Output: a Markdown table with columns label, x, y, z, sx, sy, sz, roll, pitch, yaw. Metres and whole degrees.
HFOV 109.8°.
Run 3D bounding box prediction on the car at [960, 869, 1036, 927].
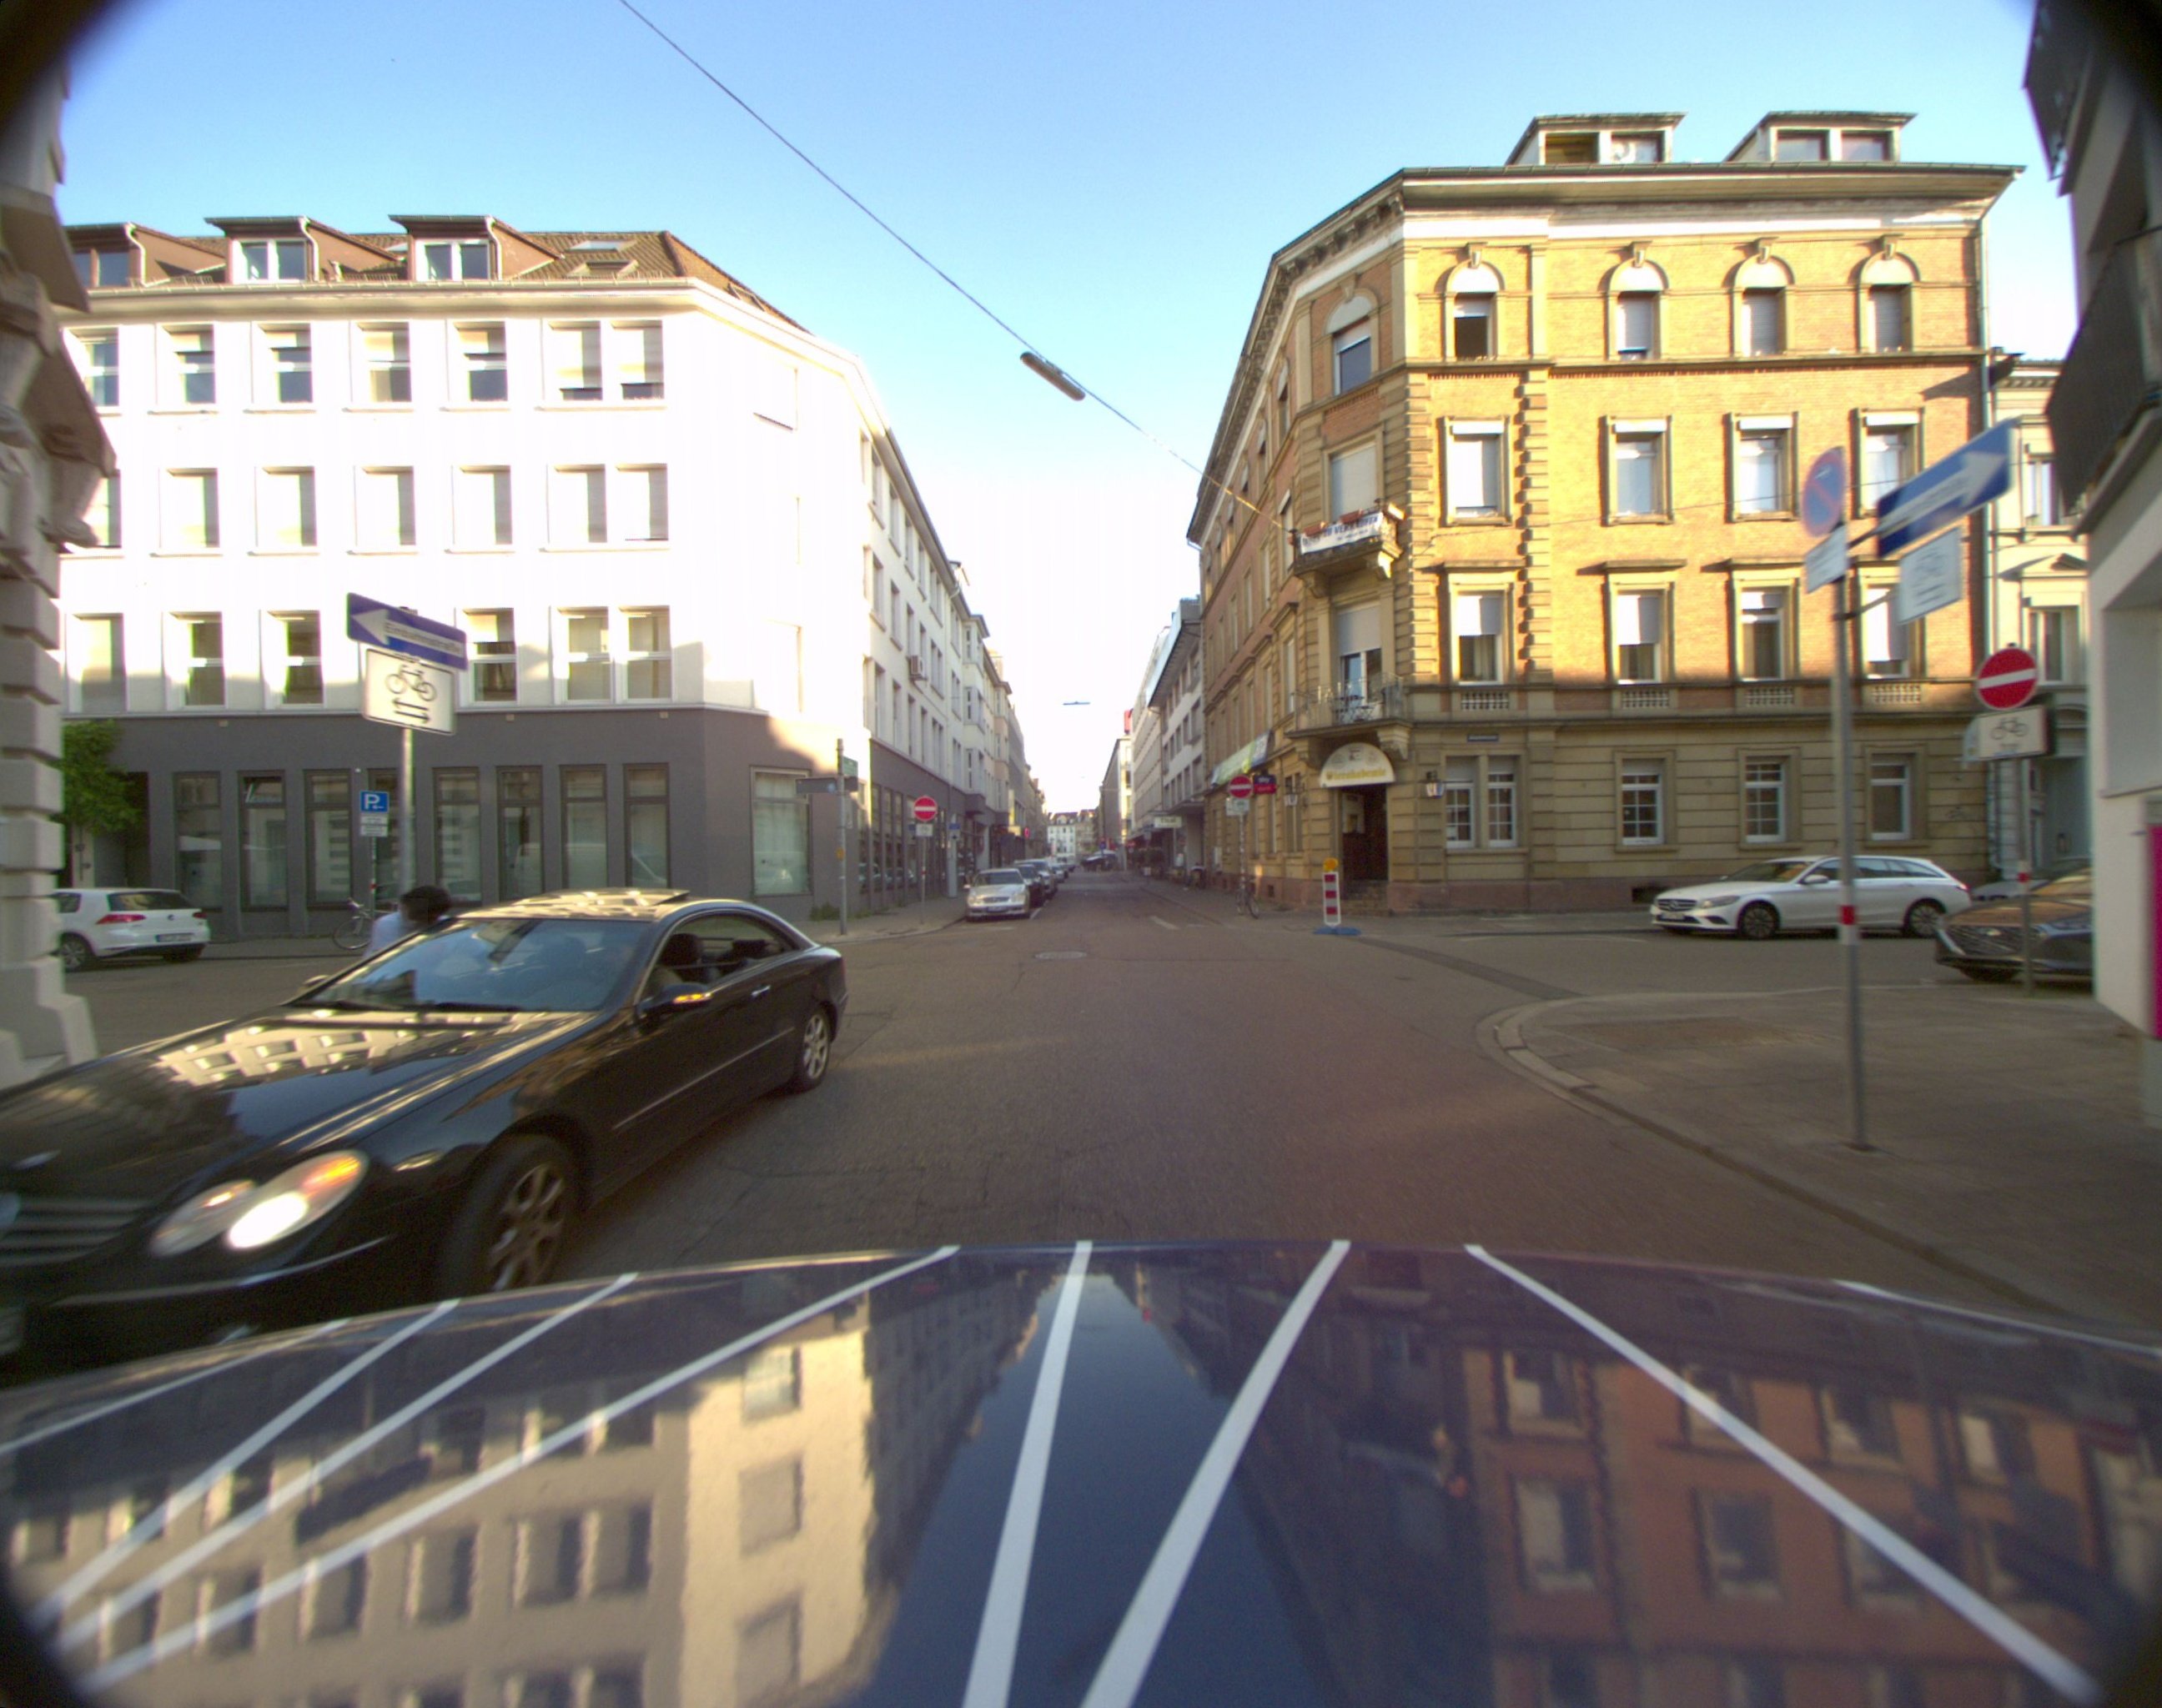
| label | x | y | z | sx | sy | sz | roll | pitch | yaw |
| --- | --- | --- | --- | --- | --- | --- | --- | --- | --- |
| car | -2.255 | 1.164 | 21.719 | 1.755 | 1.393 | 4.488 | -2 | -1 | -2 |

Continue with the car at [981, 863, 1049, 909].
| label | x | y | z | sx | sy | sz | roll | pitch | yaw |
| --- | --- | --- | --- | --- | --- | --- | --- | --- | --- |
| car | -2.271 | 1.094 | 27.287 | 2.013 | 1.515 | 4.118 | -1 | -1 | 0 |

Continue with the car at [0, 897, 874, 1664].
| label | x | y | z | sx | sy | sz | roll | pitch | yaw |
| --- | --- | --- | --- | --- | --- | --- | --- | --- | --- |
| car | -2.800 | 1.051 | 4.010 | 1.888 | 1.400 | 4.731 | -1 | -1 | 3 |

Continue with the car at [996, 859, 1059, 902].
| label | x | y | z | sx | sy | sz | roll | pitch | yaw |
| --- | --- | --- | --- | --- | --- | --- | --- | --- | --- |
| car | -2.228 | 1.102 | 33.033 | 2.335 | 1.734 | 4.488 | -1 | -1 | 0 |

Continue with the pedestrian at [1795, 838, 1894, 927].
| label | x | y | z | sx | sy | sz | roll | pitch | yaw |
| --- | --- | --- | --- | --- | --- | --- | --- | --- | --- |
| pedestrian | 15.499 | 0.569 | 15.454 | 1.016 | 1.732 | 0.984 | -1 | 0 | -6 |

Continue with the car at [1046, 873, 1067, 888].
| label | x | y | z | sx | sy | sz | roll | pitch | yaw |
| --- | --- | --- | --- | --- | --- | --- | --- | --- | --- |
| car | -1.886 | 2.083 | 59.382 | 1.514 | 1.053 | 3.467 | -1 | -1 | 0 |

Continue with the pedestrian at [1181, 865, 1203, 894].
| label | x | y | z | sx | sy | sz | roll | pitch | yaw |
| --- | --- | --- | --- | --- | --- | --- | --- | --- | --- |
| pedestrian | 5.220 | 1.197 | 35.734 | 0.836 | 1.331 | 0.806 | -1 | 0 | 20 |

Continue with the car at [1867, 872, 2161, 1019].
| label | x | y | z | sx | sy | sz | roll | pitch | yaw |
| --- | --- | --- | --- | --- | --- | --- | --- | --- | --- |
| car | 11.416 | 0.890 | 8.236 | 3.786 | 1.363 | 1.945 | -1 | -2 | -1 |

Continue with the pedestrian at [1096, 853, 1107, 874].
| label | x | y | z | sx | sy | sz | roll | pitch | yaw |
| --- | --- | --- | --- | --- | --- | --- | --- | --- | --- |
| pedestrian | 2.607 | 1.175 | 97.258 | 1.247 | 2.599 | 1.467 | -1 | 0 | -1 |

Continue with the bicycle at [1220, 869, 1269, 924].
| label | x | y | z | sx | sy | sz | roll | pitch | yaw |
| --- | --- | --- | --- | --- | --- | --- | --- | --- | --- |
| bicycle | 4.101 | 1.046 | 19.190 | 0.660 | 1.268 | 1.763 | -4 | 0 | -4 |

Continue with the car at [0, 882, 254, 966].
| label | x | y | z | sx | sy | sz | roll | pitch | yaw |
| --- | --- | --- | --- | --- | --- | --- | --- | --- | --- |
| car | -18.312 | 1.262 | 14.184 | 3.880 | 1.405 | 1.663 | -1 | -1 | -1 |

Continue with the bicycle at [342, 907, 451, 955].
| label | x | y | z | sx | sy | sz | roll | pitch | yaw |
| --- | --- | --- | --- | --- | --- | --- | --- | --- | --- |
| bicycle | -13.751 | 1.541 | 15.292 | 1.642 | 0.900 | 0.598 | -1 | 0 | 1 |

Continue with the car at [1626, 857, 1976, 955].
| label | x | y | z | sx | sy | sz | roll | pitch | yaw |
| --- | --- | --- | --- | --- | --- | --- | --- | --- | --- |
| car | 12.817 | 0.889 | 13.740 | 4.503 | 1.555 | 2.000 | -1 | -1 | -2 |

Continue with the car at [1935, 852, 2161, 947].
| label | x | y | z | sx | sy | sz | roll | pitch | yaw |
| --- | --- | --- | --- | --- | --- | --- | --- | --- | --- |
| car | 18.163 | 0.767 | 13.656 | 3.751 | 1.567 | 1.630 | -1 | 0 | 1 |

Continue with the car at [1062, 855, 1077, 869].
| label | x | y | z | sx | sy | sz | roll | pitch | yaw |
| --- | --- | --- | --- | --- | --- | --- | --- | --- | --- |
| car | -1.684 | 1.183 | 110.898 | 1.999 | 2.002 | 3.999 | -1 | 0 | -2 |
